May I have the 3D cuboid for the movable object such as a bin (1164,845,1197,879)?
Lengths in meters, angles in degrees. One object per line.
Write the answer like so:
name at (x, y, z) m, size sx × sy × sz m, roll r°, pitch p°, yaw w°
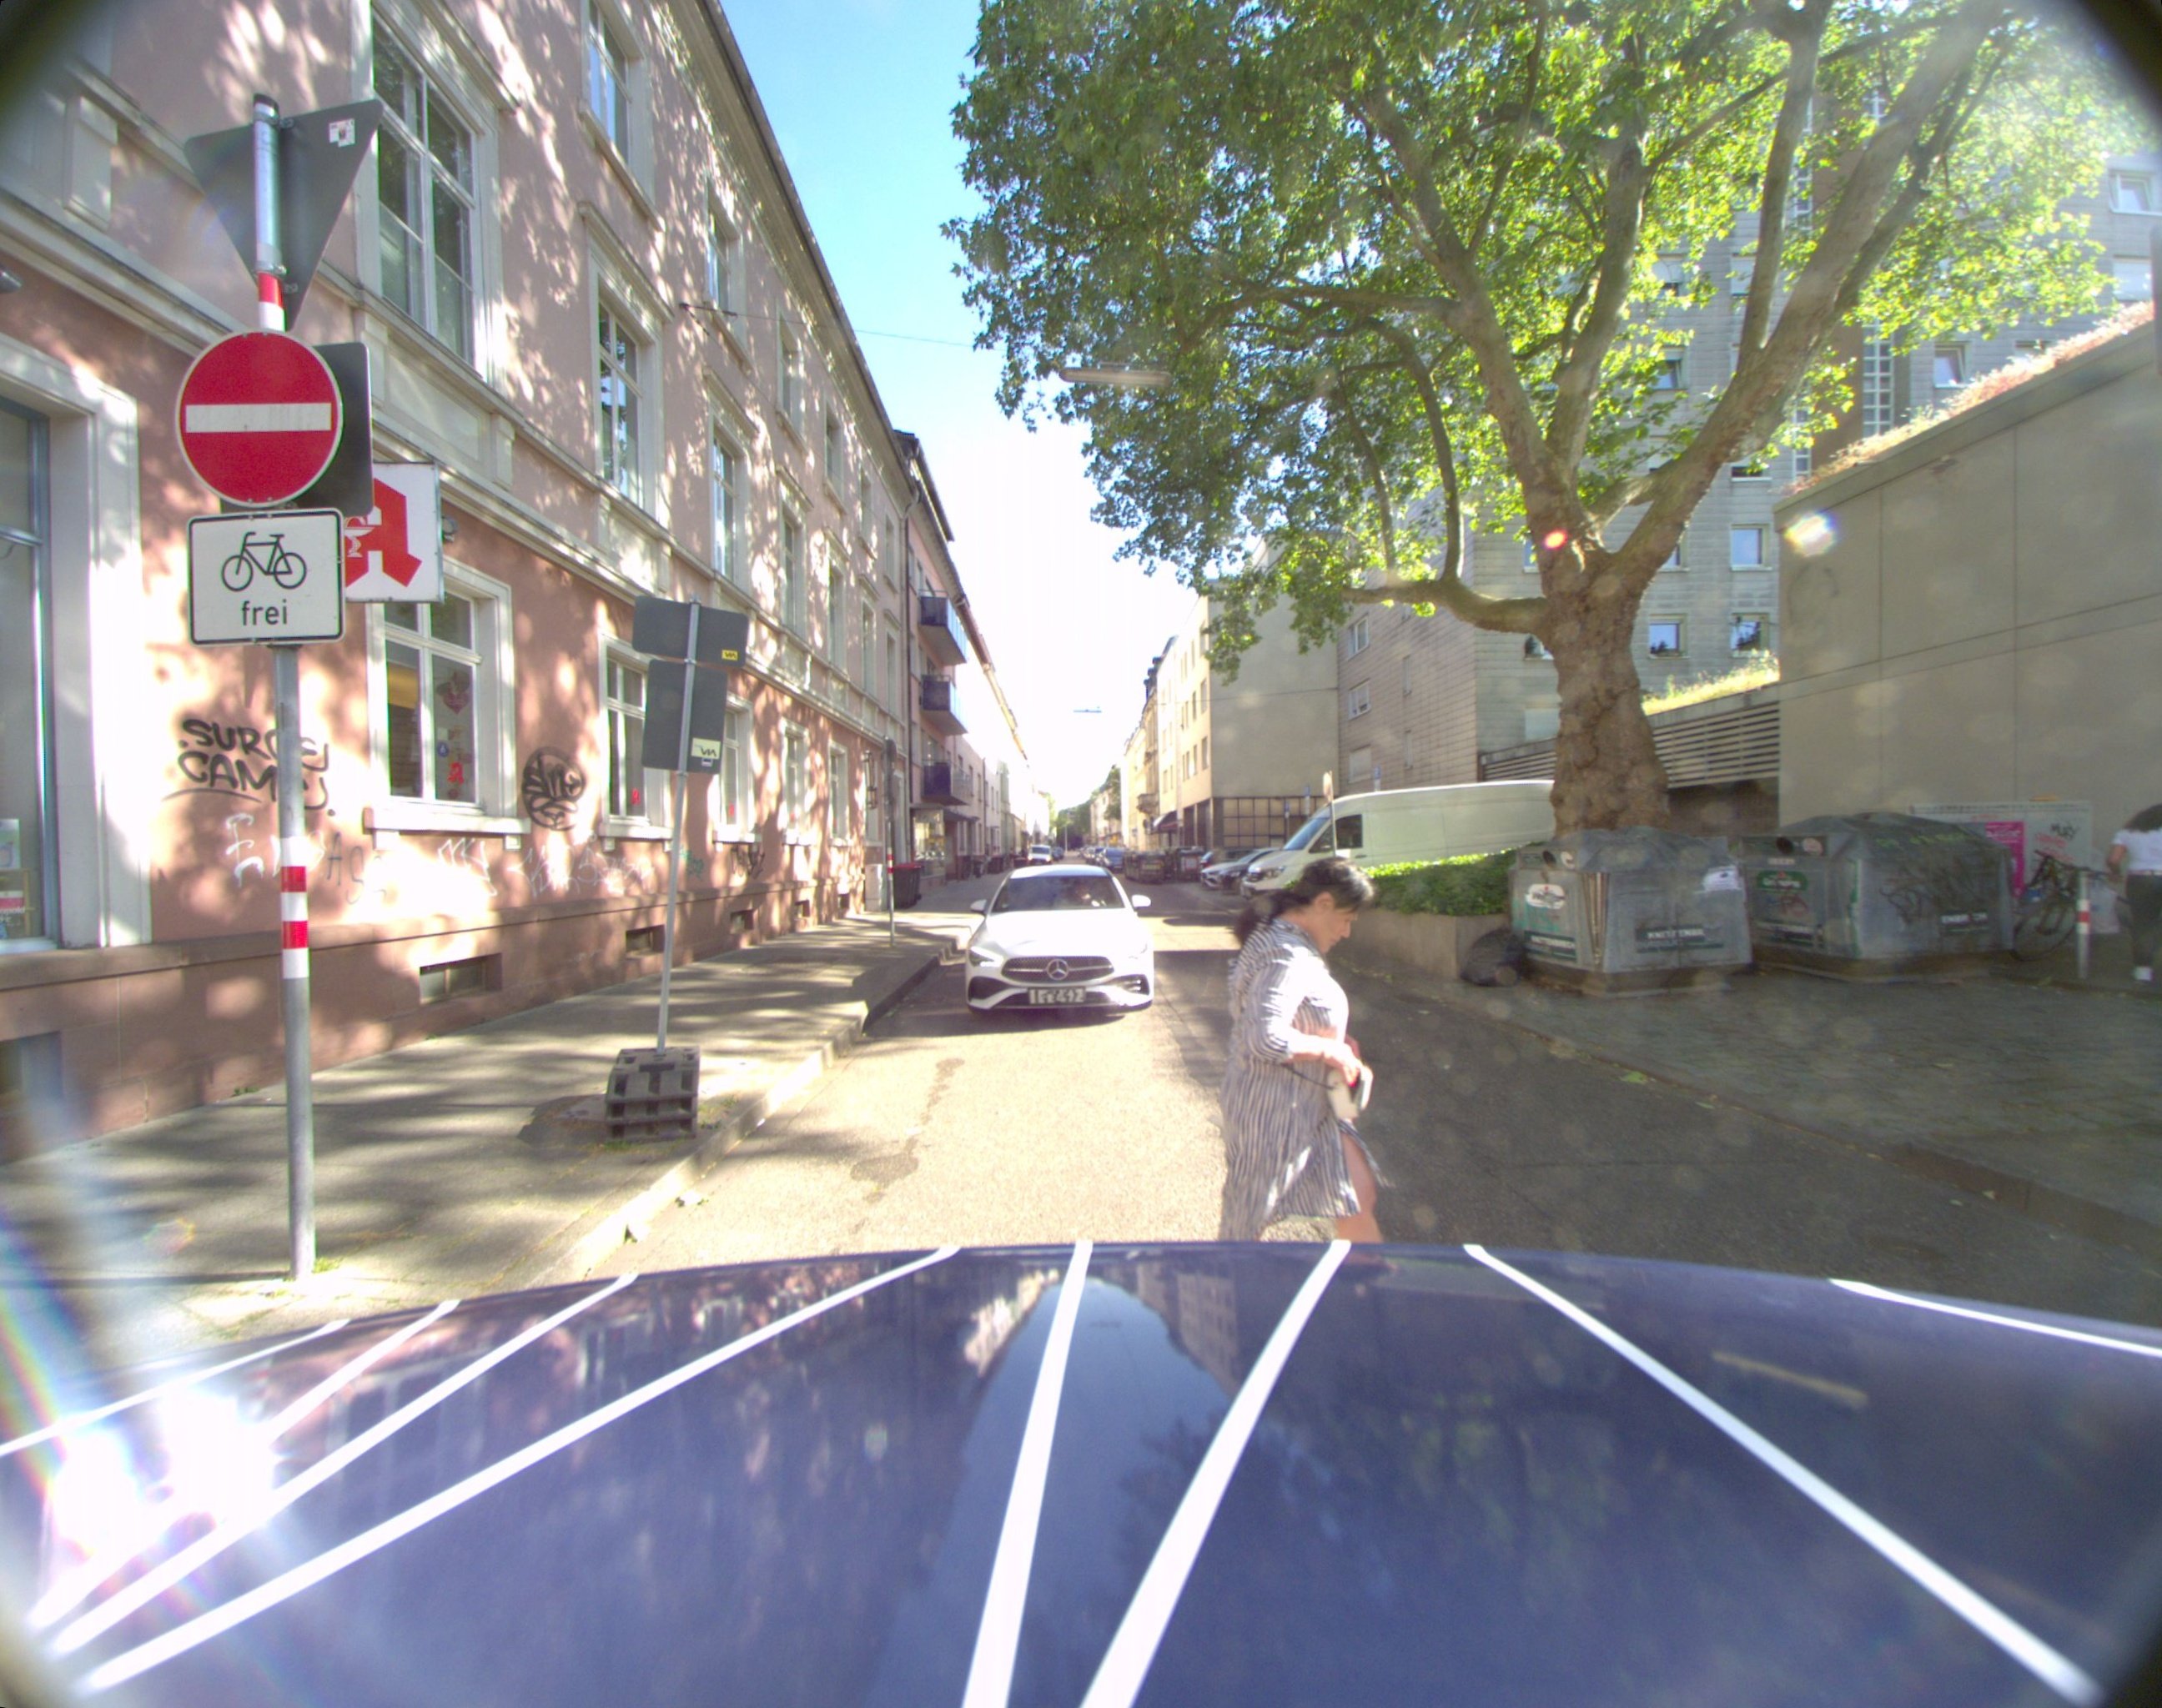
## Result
movable object such as a bin at (4.472, 0.353, 34.303) m, size 1.222 × 1.492 × 1.517 m, roll -1°, pitch 1°, yaw -3°

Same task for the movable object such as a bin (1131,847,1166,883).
movable object such as a bin at (2.958, 0.466, 33.414) m, size 1.241 × 1.492 × 1.876 m, roll -1°, pitch 1°, yaw -3°

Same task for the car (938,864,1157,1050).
car at (-0.287, 0.937, 8.948) m, size 1.862 × 1.448 × 4.562 m, roll -2°, pitch 1°, yaw 0°

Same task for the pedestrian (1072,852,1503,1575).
pedestrian at (0.519, 0.808, 2.169) m, size 0.845 × 1.564 × 0.847 m, roll 4°, pitch 2°, yaw 9°

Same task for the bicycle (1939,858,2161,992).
bicycle at (9.605, 0.637, 7.275) m, size 0.806 × 1.146 × 1.714 m, roll -4°, pitch 1°, yaw -32°

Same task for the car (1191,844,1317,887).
car at (6.673, 0.436, 29.460) m, size 4.417 × 1.524 × 1.698 m, roll -1°, pitch 0°, yaw -7°

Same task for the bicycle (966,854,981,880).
bicycle at (-4.973, 0.562, 35.186) m, size 0.402 × 1.144 × 2.024 m, roll -1°, pitch 1°, yaw 0°

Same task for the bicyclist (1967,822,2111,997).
bicyclist at (9.148, 0.497, 7.274) m, size 0.534 × 1.575 × 0.705 m, roll -2°, pitch 1°, yaw -15°

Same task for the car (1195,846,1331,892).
car at (6.473, 0.512, 27.184) m, size 4.417 × 1.454 × 1.599 m, roll -1°, pitch 0°, yaw -7°

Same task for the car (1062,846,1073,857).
car at (-2.174, -0.453, 122.714) m, size 1.765 × 1.698 × 4.327 m, roll -1°, pitch 1°, yaw -1°

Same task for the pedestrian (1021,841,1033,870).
pedestrian at (-3.784, 0.086, 53.127) m, size 0.761 × 2.002 × 0.771 m, roll -1°, pitch 1°, yaw 0°

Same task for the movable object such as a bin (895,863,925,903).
movable object such as a bin at (-4.815, 0.815, 21.427) m, size 0.718 × 1.078 × 0.618 m, roll 2°, pitch 1°, yaw -2°

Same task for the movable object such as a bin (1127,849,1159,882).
movable object such as a bin at (2.887, 0.515, 35.820) m, size 1.247 × 1.492 × 1.924 m, roll -1°, pitch 1°, yaw -3°

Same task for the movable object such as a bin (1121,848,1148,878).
movable object such as a bin at (2.738, 0.449, 39.158) m, size 1.222 × 1.492 × 1.559 m, roll -1°, pitch 1°, yaw -3°

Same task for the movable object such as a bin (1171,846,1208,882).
movable object such as a bin at (4.686, 0.425, 32.907) m, size 1.328 × 1.492 × 1.194 m, roll -1°, pitch 1°, yaw -3°

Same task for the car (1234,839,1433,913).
car at (6.290, 0.514, 19.227) m, size 4.415 × 1.525 × 1.698 m, roll -3°, pitch 1°, yaw -1°

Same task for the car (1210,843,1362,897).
car at (6.591, 0.486, 24.616) m, size 4.417 × 1.607 × 1.698 m, roll -1°, pitch 1°, yaw -7°

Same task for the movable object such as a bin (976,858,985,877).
movable object such as a bin at (-4.989, 0.674, 37.797) m, size 0.416 × 0.935 × 0.302 m, roll 2°, pitch 1°, yaw -2°

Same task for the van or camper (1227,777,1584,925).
van or camper at (6.971, -0.064, 16.880) m, size 6.923 × 2.559 × 2.000 m, roll -4°, pitch 1°, yaw 0°

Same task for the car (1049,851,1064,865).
car at (-3.095, 0.475, 97.360) m, size 1.765 × 1.698 × 4.327 m, roll -1°, pitch 1°, yaw -1°

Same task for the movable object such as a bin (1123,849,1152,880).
movable object such as a bin at (2.785, 0.491, 37.595) m, size 1.222 × 1.492 × 1.559 m, roll -1°, pitch 1°, yaw -3°

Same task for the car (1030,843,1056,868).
car at (-2.900, 0.119, 58.882) m, size 1.765 × 1.843 × 4.327 m, roll -1°, pitch 1°, yaw 0°

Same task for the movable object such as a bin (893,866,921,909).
movable object such as a bin at (-4.444, 0.857, 19.407) m, size 0.570 × 1.052 × 0.611 m, roll 2°, pitch 1°, yaw -2°

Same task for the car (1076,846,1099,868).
car at (0.519, 0.216, 60.962) m, size 1.765 × 1.698 × 4.327 m, roll -1°, pitch 1°, yaw 0°

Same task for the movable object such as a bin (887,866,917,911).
movable object such as a bin at (-4.415, 0.844, 18.785) m, size 0.570 × 1.078 × 0.654 m, roll 2°, pitch 1°, yaw -2°

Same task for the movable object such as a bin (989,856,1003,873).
movable object such as a bin at (-5.078, 0.621, 45.394) m, size 0.717 × 0.996 × 0.546 m, roll 2°, pitch 1°, yaw -2°

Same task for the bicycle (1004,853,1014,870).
bicycle at (-5.042, 0.506, 52.935) m, size 0.490 × 1.090 × 1.932 m, roll -1°, pitch 1°, yaw 0°

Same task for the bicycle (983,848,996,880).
bicycle at (-5.149, 0.545, 42.746) m, size 0.402 × 1.726 × 2.106 m, roll -1°, pitch 1°, yaw 0°

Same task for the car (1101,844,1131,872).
car at (2.250, 0.235, 49.537) m, size 1.765 × 1.698 × 4.327 m, roll -1°, pitch 1°, yaw 0°
